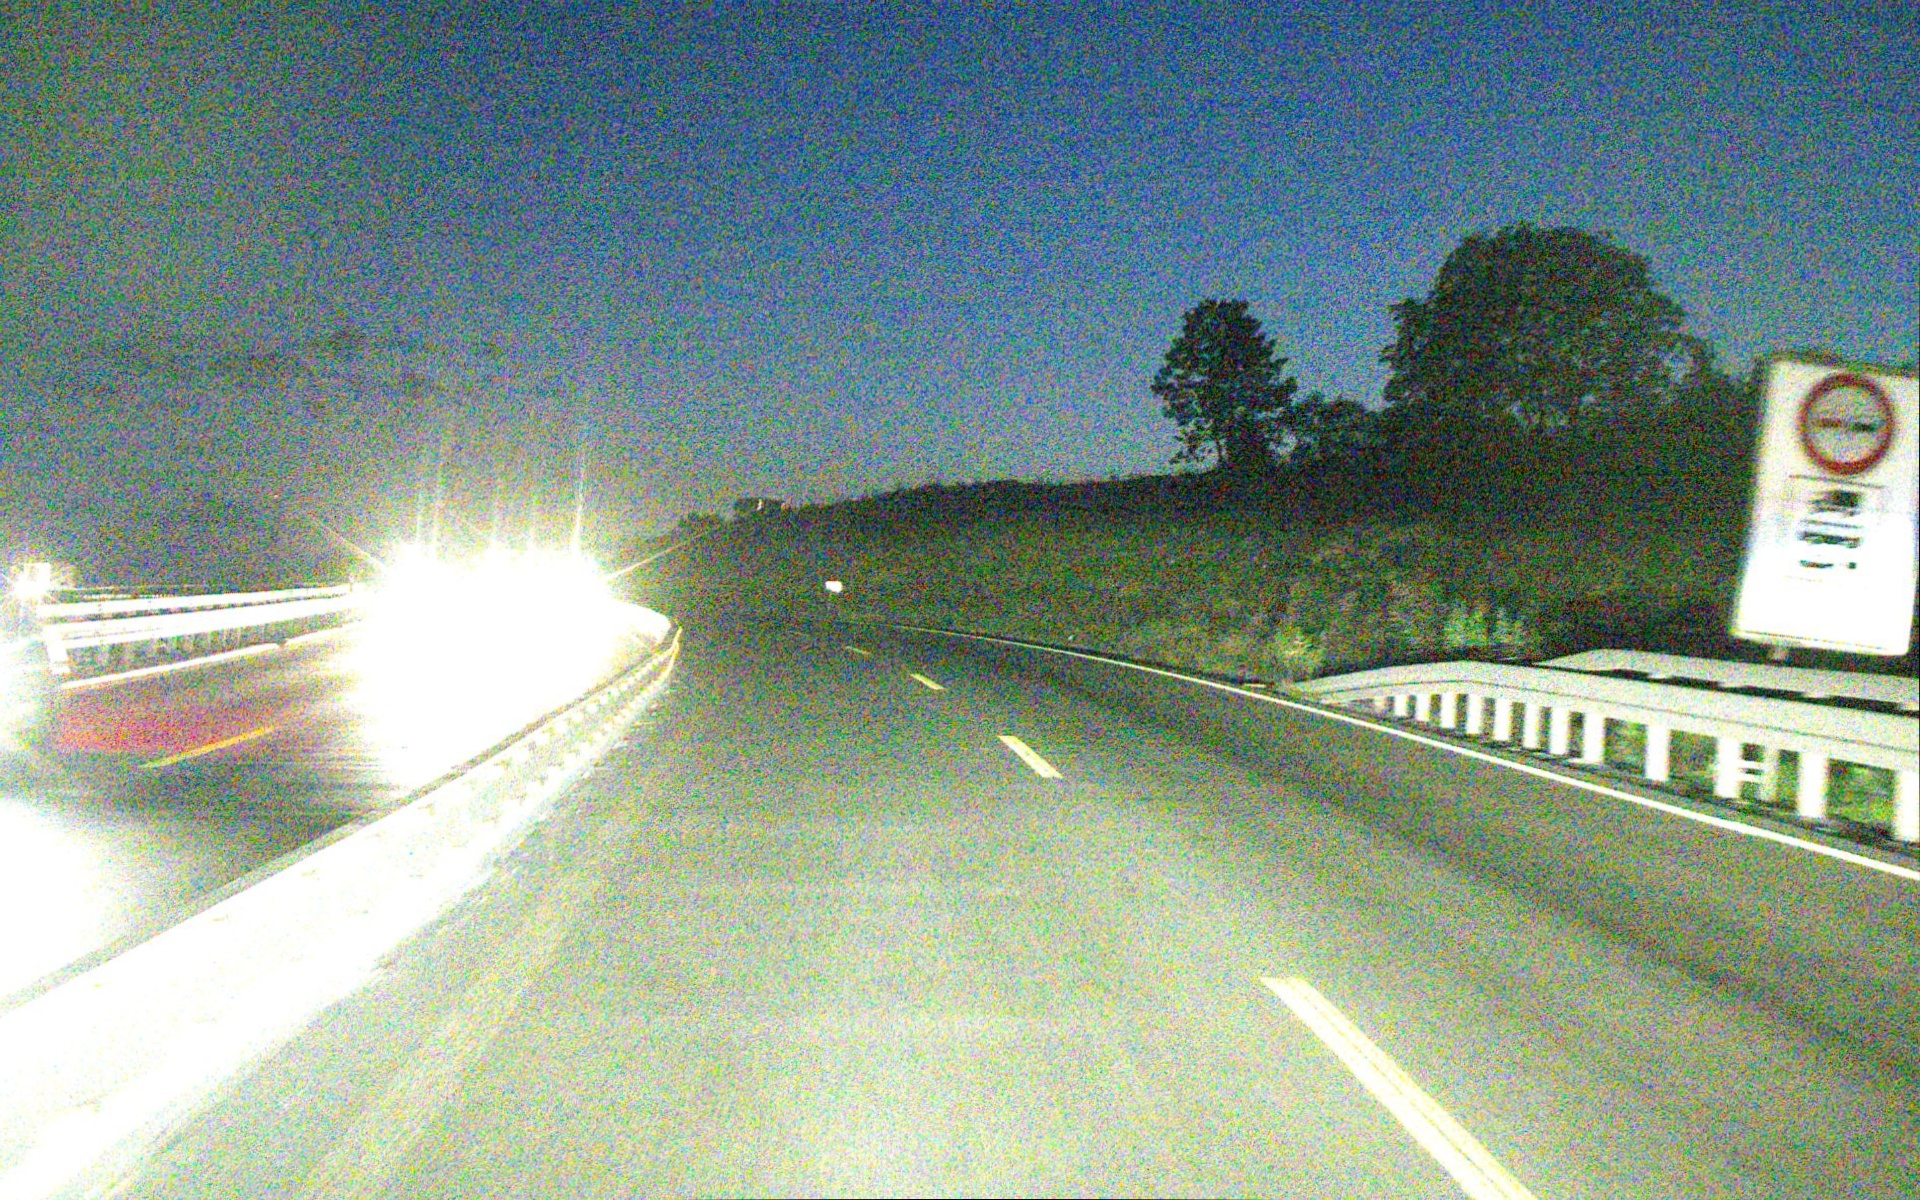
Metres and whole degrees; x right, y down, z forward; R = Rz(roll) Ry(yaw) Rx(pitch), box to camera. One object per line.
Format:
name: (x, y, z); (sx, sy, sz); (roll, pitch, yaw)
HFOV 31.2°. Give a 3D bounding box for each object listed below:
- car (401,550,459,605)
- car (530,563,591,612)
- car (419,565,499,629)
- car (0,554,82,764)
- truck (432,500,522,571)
car: (-19.856, -0.830, 128.726); (1.993, 2.007, 5.588); (-1, 0, -10)
car: (-12.312, -0.381, 105.739); (1.651, 1.464, 4.001); (-1, 0, -9)
car: (-11.239, -0.064, 77.226); (1.716, 1.375, 4.244); (0, 0, -8)
car: (-7.492, 0.418, 24.174); (1.712, 1.438, 4.487); (-1, 0, -3)
truck: (-33.017, -4.344, 234.544); (4.010, 4.536, 13.958); (-1, 0, -16)
